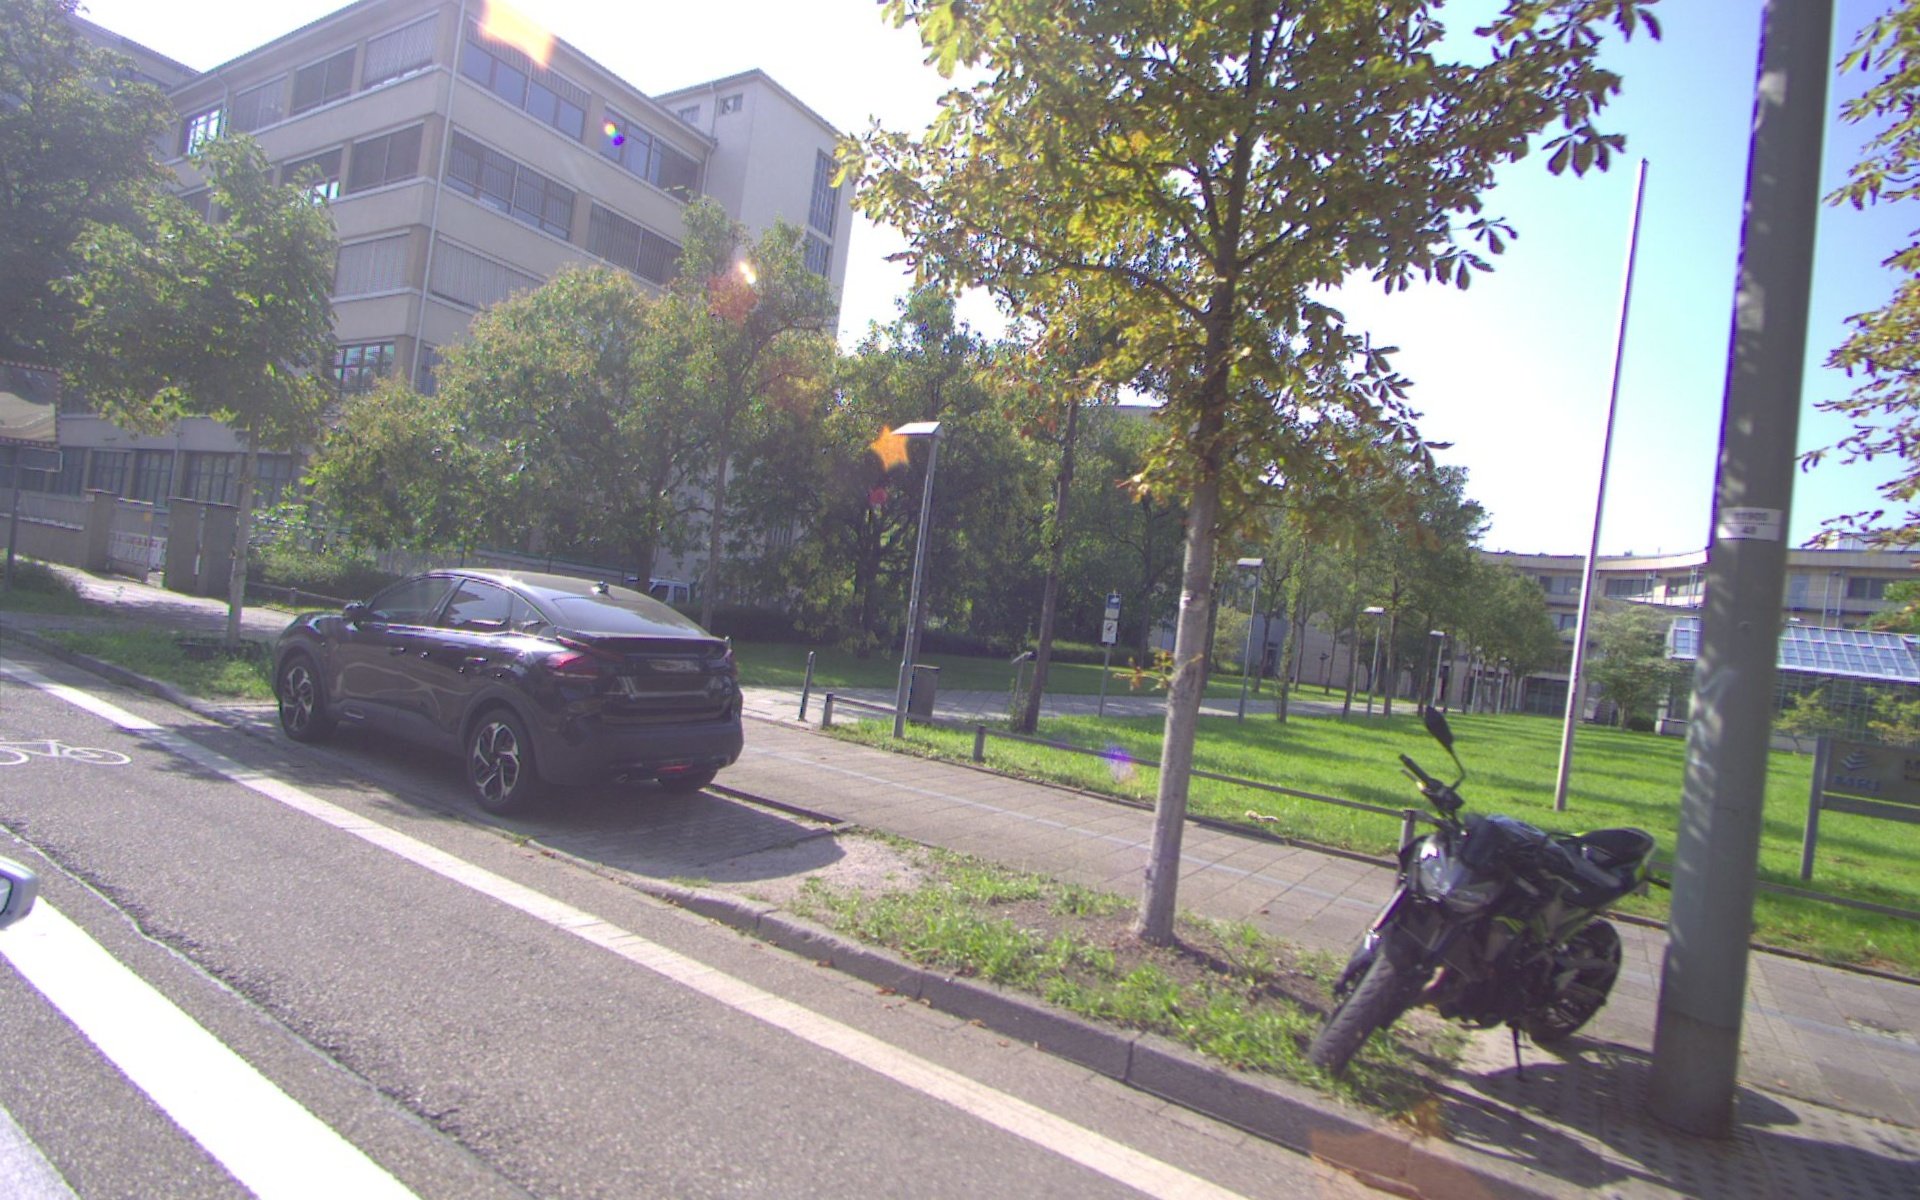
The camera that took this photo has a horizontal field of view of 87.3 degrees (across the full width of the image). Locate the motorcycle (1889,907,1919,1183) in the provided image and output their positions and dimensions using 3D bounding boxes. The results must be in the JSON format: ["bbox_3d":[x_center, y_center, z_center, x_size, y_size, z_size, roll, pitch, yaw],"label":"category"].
[{"bbox_3d":[4.375,1.460,3.102,2.028,1.343,0.845,7,0,4],"label":"motorcycle"}]

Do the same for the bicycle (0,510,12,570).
[{"bbox_3d":[-18.300,-1.186,17.980,0.783,1.077,1.771,7,0,31],"label":"bicycle"}]

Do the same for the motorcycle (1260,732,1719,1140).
[{"bbox_3d":[2.202,1.259,4.071,1.970,1.239,0.640,9,-2,-32],"label":"motorcycle"}]

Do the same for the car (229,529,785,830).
[{"bbox_3d":[-3.667,0.454,7.879,4.364,1.504,1.743,7,0,32],"label":"car"}]

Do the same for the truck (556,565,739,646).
[{"bbox_3d":[-11.606,0.289,37.989,2.087,2.240,6.576,6,-2,34],"label":"truck"}]
